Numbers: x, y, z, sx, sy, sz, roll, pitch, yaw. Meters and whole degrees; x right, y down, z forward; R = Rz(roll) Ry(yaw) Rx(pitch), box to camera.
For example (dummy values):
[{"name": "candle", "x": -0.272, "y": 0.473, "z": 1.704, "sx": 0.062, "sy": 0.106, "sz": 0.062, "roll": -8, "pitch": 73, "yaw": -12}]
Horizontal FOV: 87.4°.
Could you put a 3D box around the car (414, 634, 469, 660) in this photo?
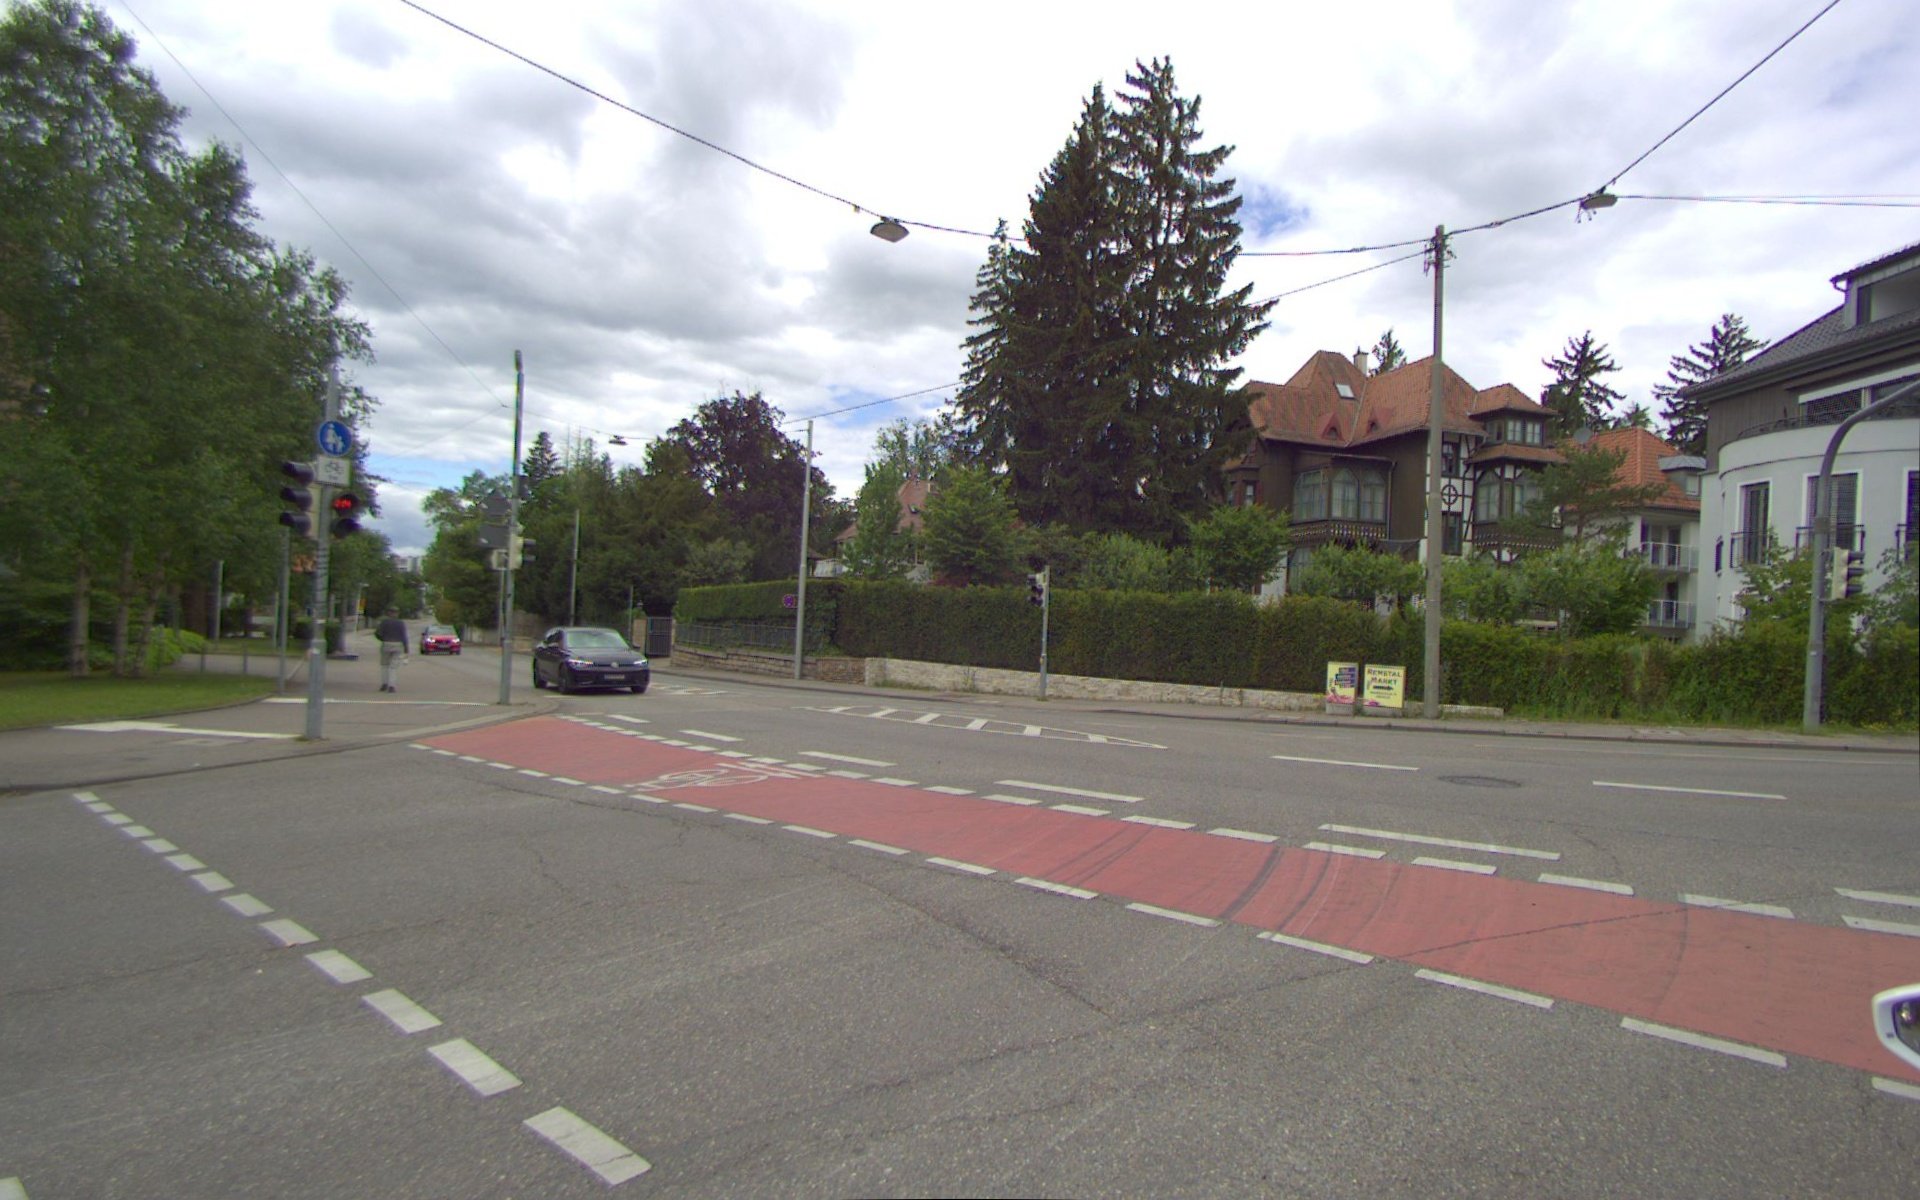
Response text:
[{"name": "car", "x": -27.333, "y": 2.472, "z": 52.926, "sx": 1.981, "sy": 1.216, "sz": 3.959, "roll": 2, "pitch": -1, "yaw": -36}]

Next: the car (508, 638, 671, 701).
[{"name": "car", "x": -8.550, "y": 1.535, "z": 23.031, "sx": 3.945, "sy": 1.260, "sz": 1.988, "roll": -1, "pitch": -2, "yaw": 44}]
